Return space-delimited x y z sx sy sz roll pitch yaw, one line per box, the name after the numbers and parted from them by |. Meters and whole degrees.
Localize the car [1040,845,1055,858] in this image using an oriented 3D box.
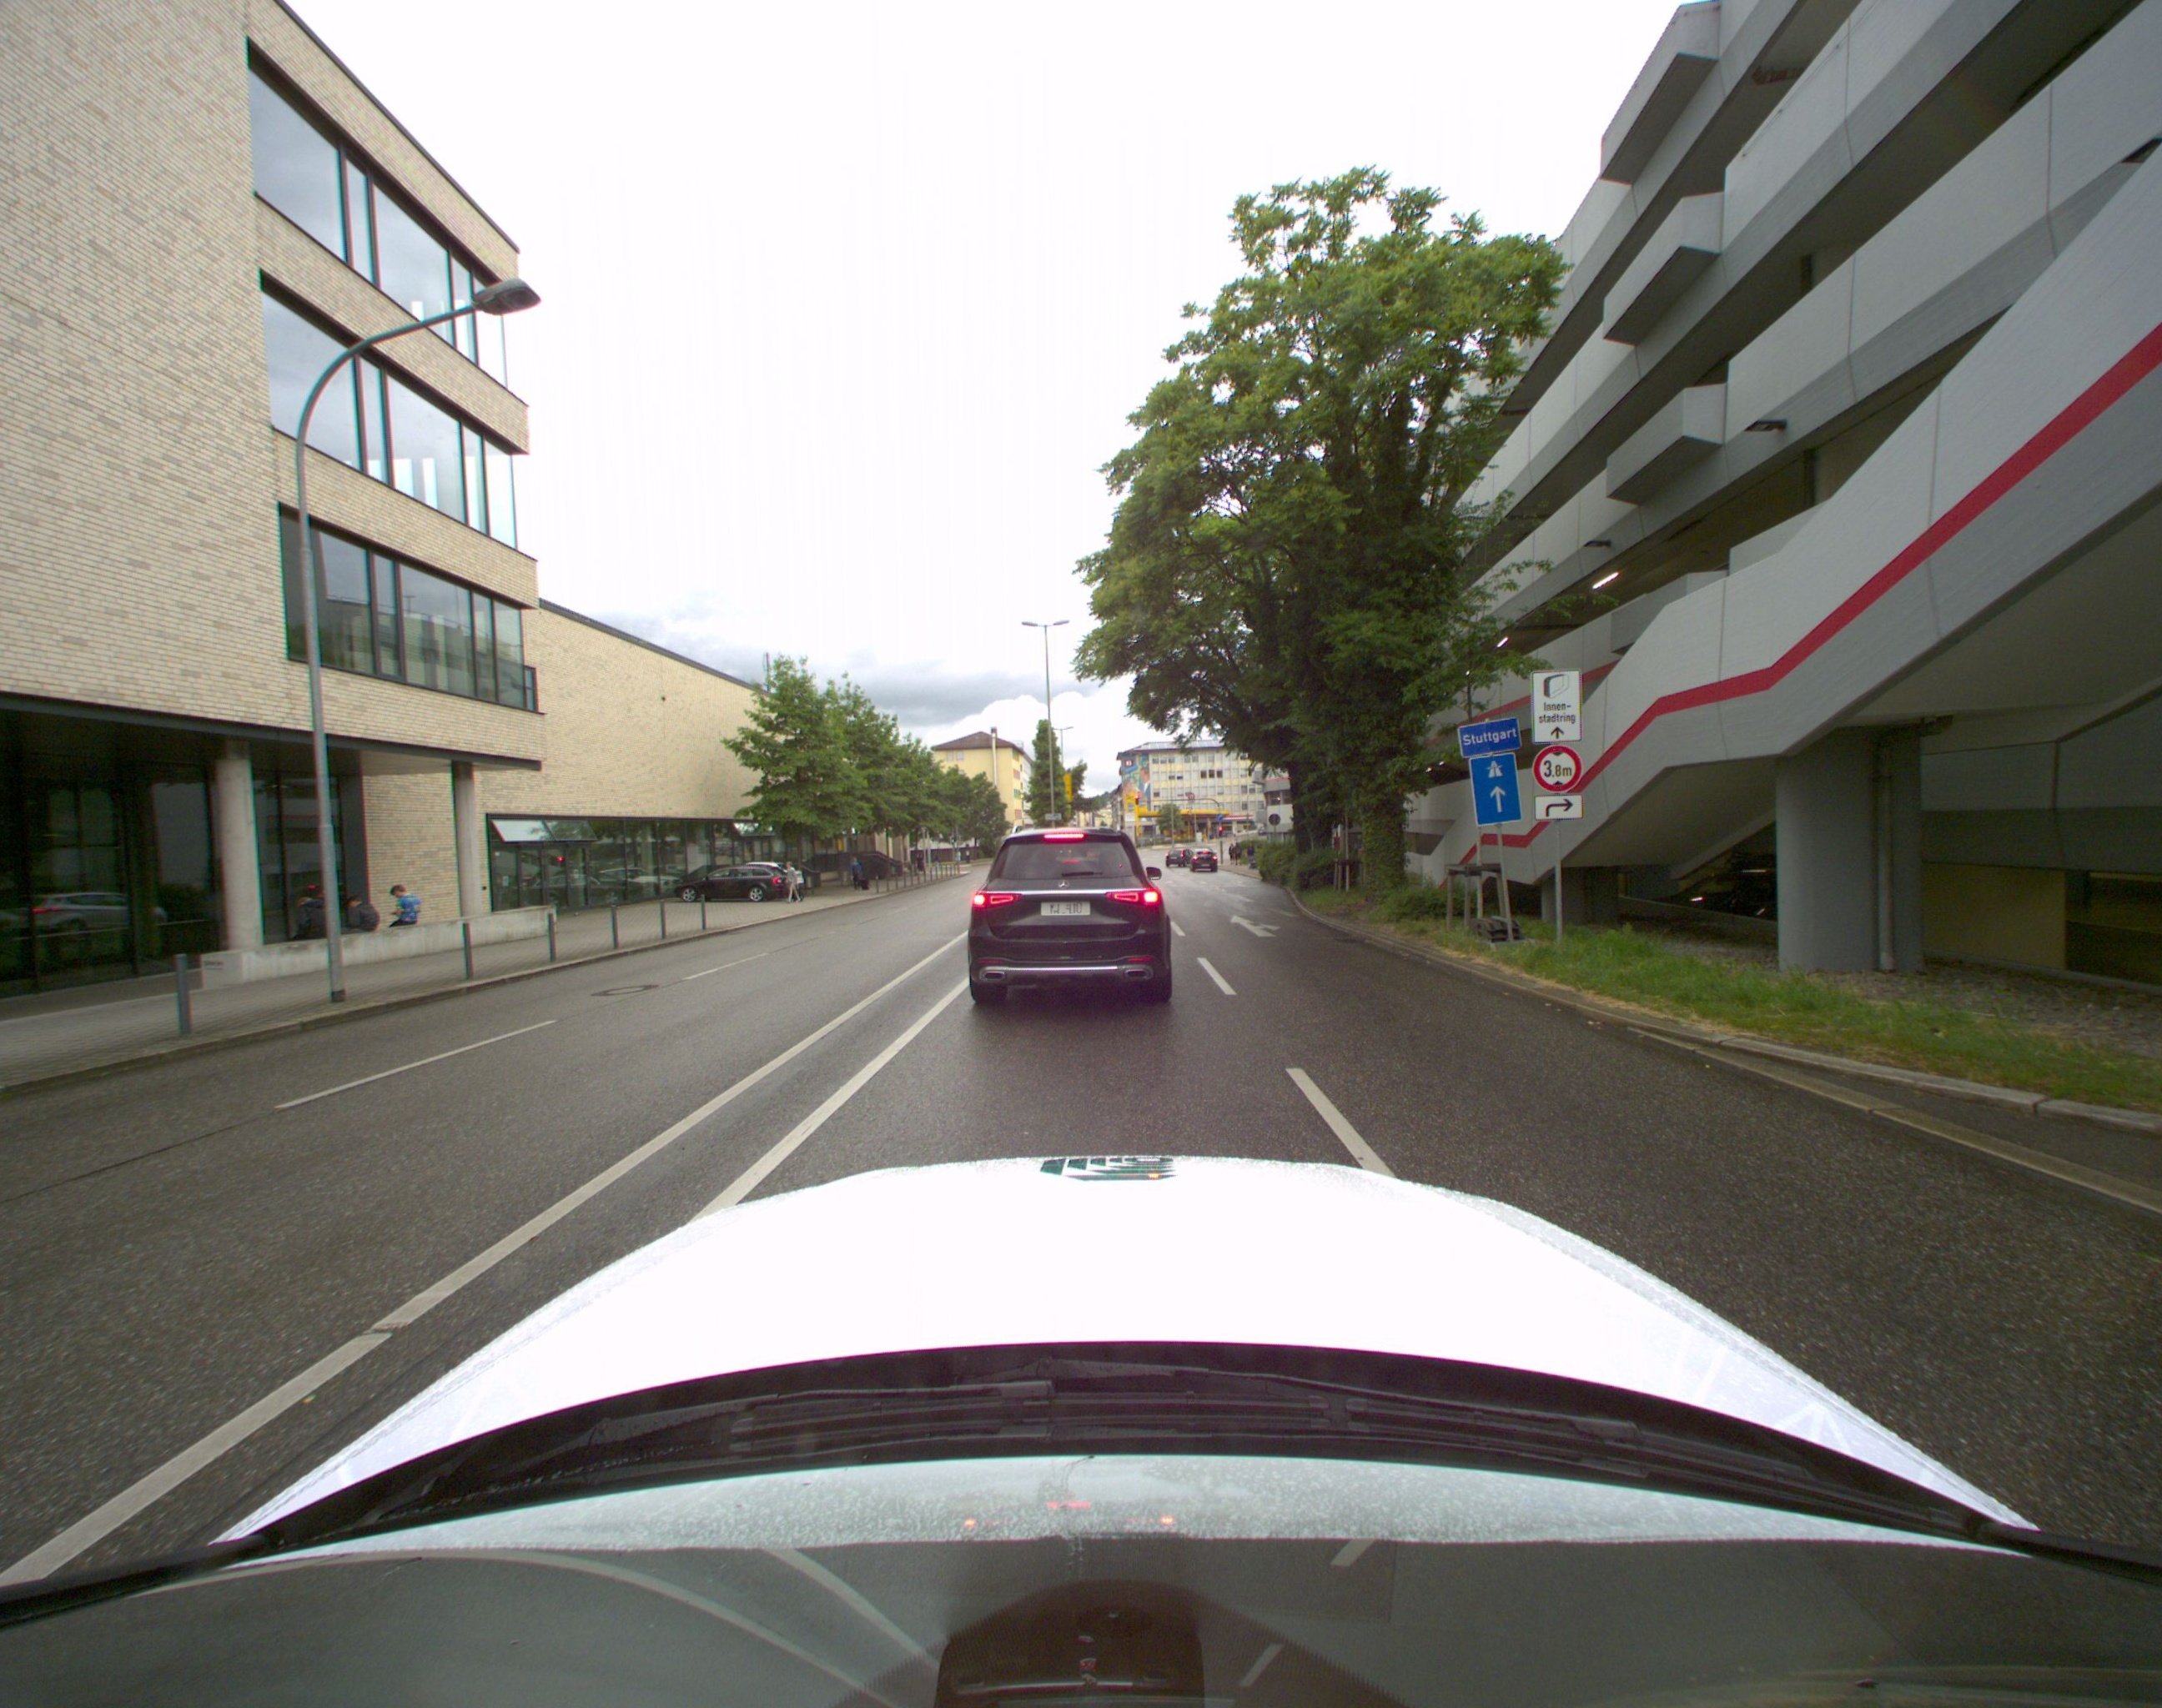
-5.002 -0.317 122.983 1.987 1.875 5.141 0 -1 0 | car

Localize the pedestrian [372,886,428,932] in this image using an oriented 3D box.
-13.646 1.102 16.328 0.679 0.886 0.524 0 -1 -2 | pedestrian

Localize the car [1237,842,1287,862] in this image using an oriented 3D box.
19.511 -0.224 87.898 4.799 2.013 1.996 -2 0 -6 | car

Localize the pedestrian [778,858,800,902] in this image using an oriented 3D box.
-11.528 1.020 32.156 0.673 1.697 0.479 0 0 1 | pedestrian

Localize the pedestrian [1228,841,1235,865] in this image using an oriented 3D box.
12.326 -0.085 66.740 0.518 1.911 0.556 0 -1 1 | pedestrian

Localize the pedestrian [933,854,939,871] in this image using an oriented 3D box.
-13.695 0.782 76.859 0.398 1.644 0.567 0 -1 2 | pedestrian

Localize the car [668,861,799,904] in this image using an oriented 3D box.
-14.101 1.138 33.299 4.461 1.587 1.997 -1 0 -5 | car

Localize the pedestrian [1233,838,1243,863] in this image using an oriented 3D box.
12.056 -0.254 62.550 0.617 1.935 0.610 0 -1 2 | pedestrian

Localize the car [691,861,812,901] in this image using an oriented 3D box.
-14.242 1.152 35.427 4.410 1.573 1.997 -1 2 -6 | car

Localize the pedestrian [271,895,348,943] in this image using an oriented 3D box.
-13.553 1.138 14.324 0.595 0.786 0.760 0 -1 1 | pedestrian

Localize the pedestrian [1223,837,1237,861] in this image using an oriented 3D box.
12.438 -0.390 67.920 1.022 2.013 0.999 0 0 0 | pedestrian

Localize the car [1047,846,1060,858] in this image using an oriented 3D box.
-5.013 -0.372 147.833 1.993 2.014 3.988 0 -1 -8 | car

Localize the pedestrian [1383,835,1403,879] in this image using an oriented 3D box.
11.091 0.114 28.976 0.548 1.532 0.489 0 -1 8 | pedestrian

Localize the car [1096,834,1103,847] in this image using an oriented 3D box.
5.134 -3.790 226.691 1.987 2.007 4.013 0 23 0 | car

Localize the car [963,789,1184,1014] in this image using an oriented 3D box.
-0.050 0.441 9.340 1.987 2.014 4.000 0 -1 0 | car

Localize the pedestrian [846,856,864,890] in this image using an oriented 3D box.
-11.626 0.987 41.818 0.686 1.726 0.754 0 -3 0 | pedestrian

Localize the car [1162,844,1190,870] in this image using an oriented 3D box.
7.653 0.266 65.859 1.986 2.014 4.002 0 -1 2 | car

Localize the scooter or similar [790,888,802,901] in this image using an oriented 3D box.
-11.399 1.626 32.558 0.279 0.501 0.616 0 -1 1 | scooter or similar

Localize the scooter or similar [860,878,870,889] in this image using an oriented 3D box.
-11.300 1.537 42.625 0.358 0.536 0.499 0 -2 1 | scooter or similar

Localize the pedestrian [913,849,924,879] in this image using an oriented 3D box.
-10.944 0.653 54.927 0.586 2.014 0.749 0 -1 0 | pedestrian

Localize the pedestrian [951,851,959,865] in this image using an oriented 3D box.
-13.277 0.447 86.053 0.709 1.462 0.598 0 -1 0 | pedestrian

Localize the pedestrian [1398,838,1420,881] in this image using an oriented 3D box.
11.673 0.201 28.979 0.579 1.501 0.505 0 -1 6 | pedestrian

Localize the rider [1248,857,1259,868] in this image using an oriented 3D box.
11.360 0.552 53.646 0.689 0.740 0.634 0 -1 9 | rider

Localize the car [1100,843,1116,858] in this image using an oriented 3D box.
3.750 -0.453 113.682 1.988 2.014 3.998 0 -1 -1 | car

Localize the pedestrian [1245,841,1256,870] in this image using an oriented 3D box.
11.342 0.110 54.436 0.658 1.917 0.731 0 -1 13 | pedestrian

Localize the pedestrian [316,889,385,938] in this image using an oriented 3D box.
-13.508 1.088 15.076 0.584 0.845 0.727 -1 -1 1 | pedestrian

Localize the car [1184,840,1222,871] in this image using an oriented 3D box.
8.236 0.088 55.277 1.987 2.013 3.999 -1 0 0 | car
